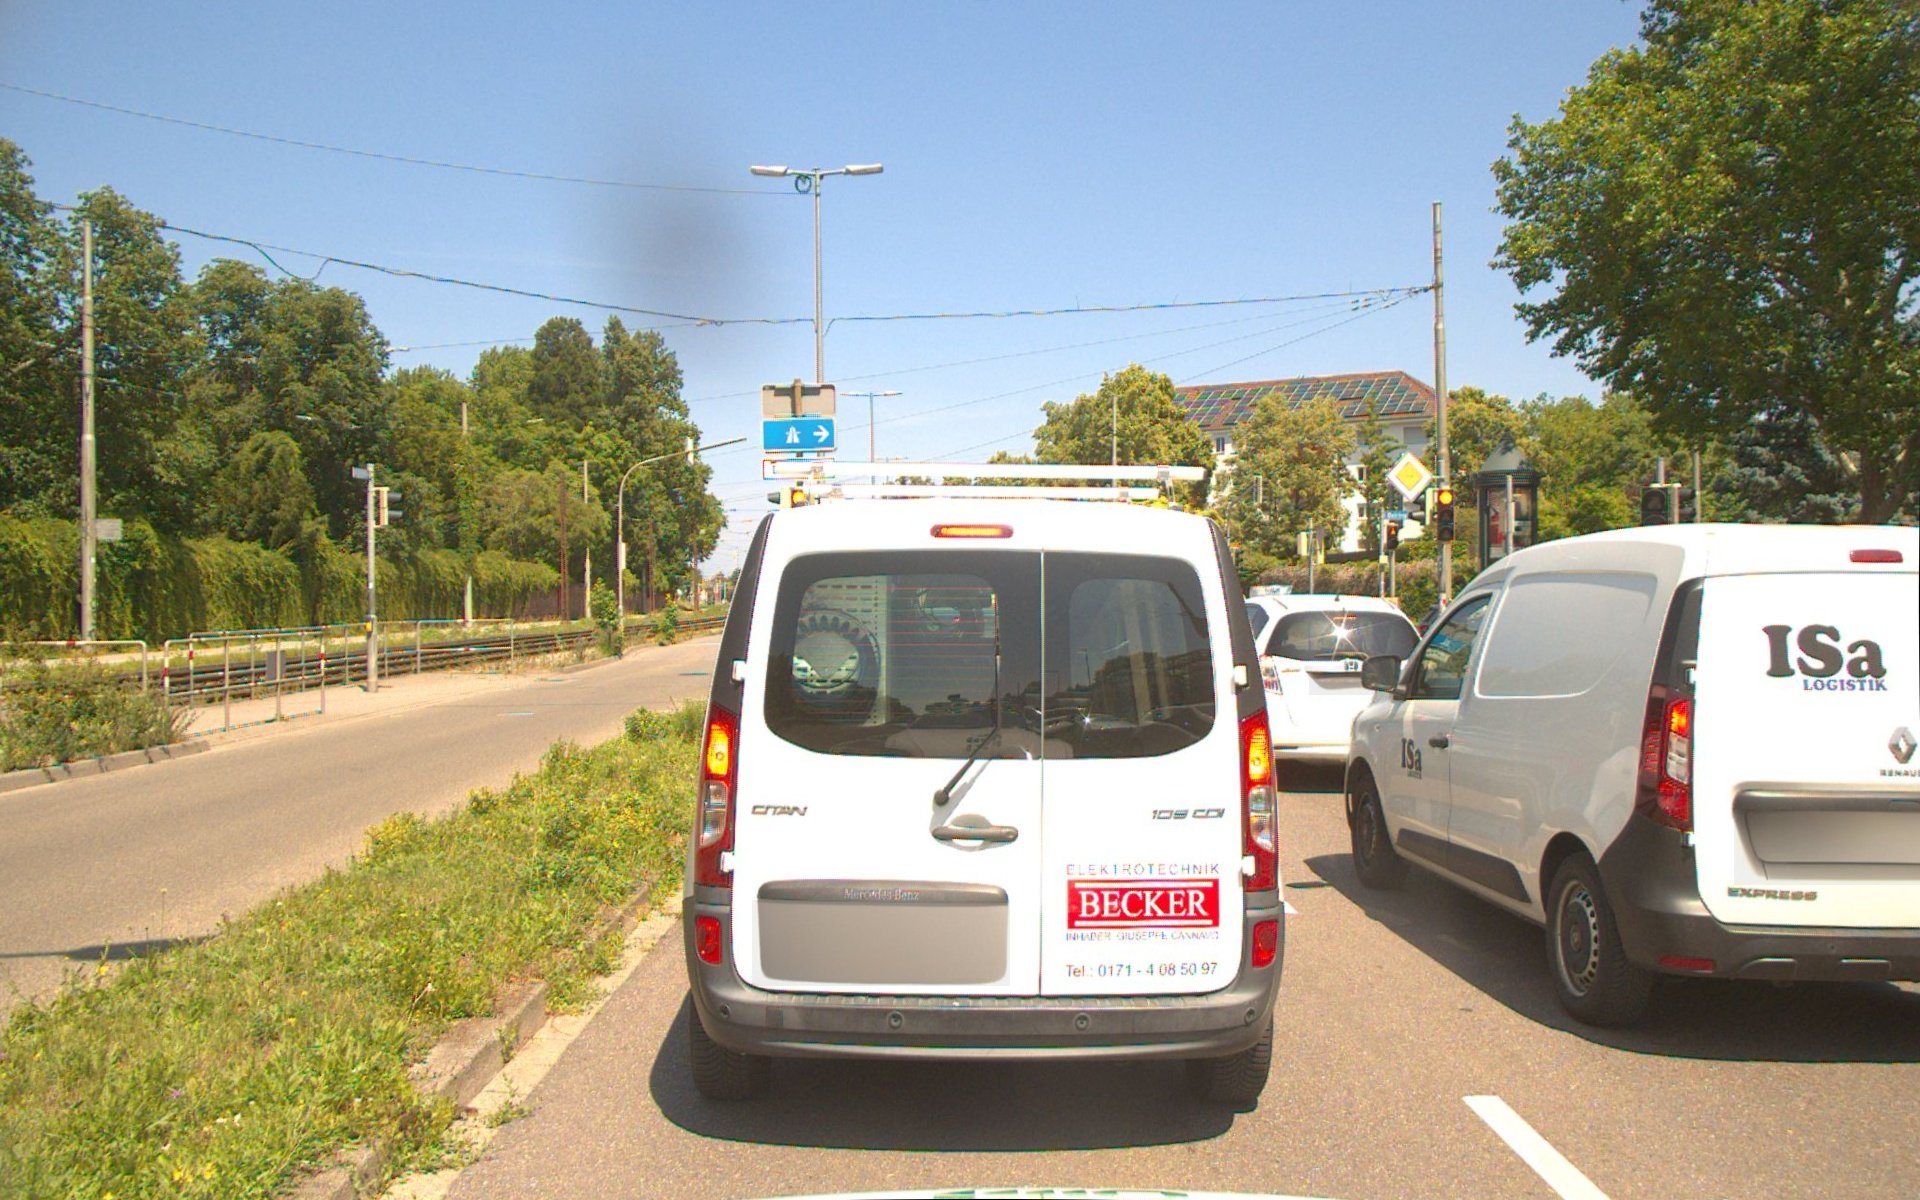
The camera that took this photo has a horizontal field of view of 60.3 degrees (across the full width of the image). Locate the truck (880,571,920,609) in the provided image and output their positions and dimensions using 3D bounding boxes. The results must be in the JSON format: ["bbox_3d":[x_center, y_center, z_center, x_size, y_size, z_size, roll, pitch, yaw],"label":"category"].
[{"bbox_3d":[-6.080,-0.965,166.049,3.507,3.696,8.798,0,0,-6],"label":"truck"}]

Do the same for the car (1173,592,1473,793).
[{"bbox_3d":[3.039,0.706,14.665,1.720,1.512,3.999,1,0,-1],"label":"car"}]

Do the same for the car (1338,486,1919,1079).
[{"bbox_3d":[3.019,0.575,7.240,1.676,1.862,4.012,0,0,-2],"label":"car"}]

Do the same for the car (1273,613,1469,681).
[{"bbox_3d":[8.787,1.012,35.372,3.794,1.334,1.696,-2,0,25],"label":"car"}]

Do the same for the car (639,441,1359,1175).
[{"bbox_3d":[0.059,0.536,6.168,1.829,1.868,3.847,1,0,-2],"label":"car"}]

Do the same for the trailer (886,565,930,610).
[{"bbox_3d":[-5.000,-1.177,157.238,3.460,4.121,8.964,0,0,-6],"label":"trailer"}]

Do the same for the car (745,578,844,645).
[{"bbox_3d":[-5.277,0.346,52.379,1.968,2.049,3.969,0,0,-24],"label":"car"}]
